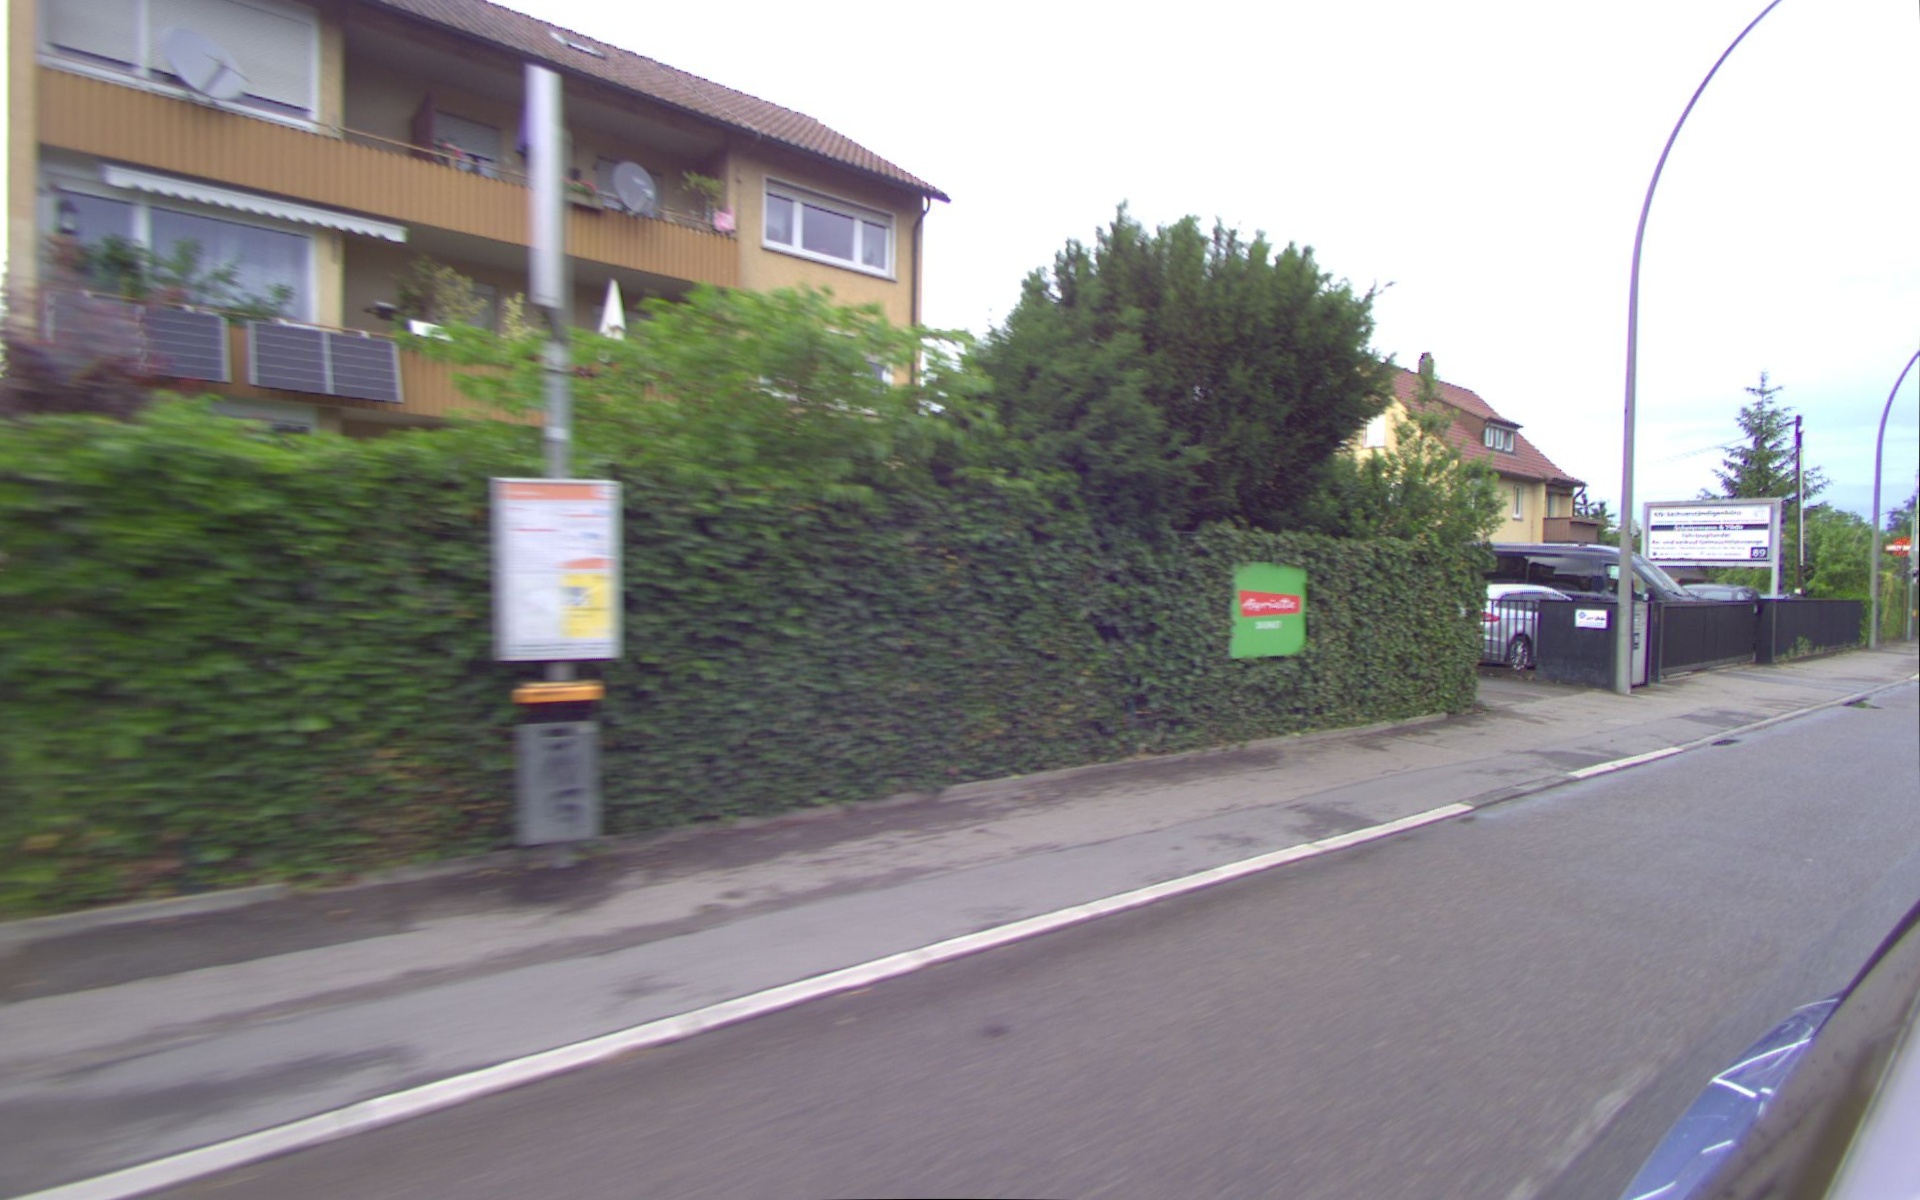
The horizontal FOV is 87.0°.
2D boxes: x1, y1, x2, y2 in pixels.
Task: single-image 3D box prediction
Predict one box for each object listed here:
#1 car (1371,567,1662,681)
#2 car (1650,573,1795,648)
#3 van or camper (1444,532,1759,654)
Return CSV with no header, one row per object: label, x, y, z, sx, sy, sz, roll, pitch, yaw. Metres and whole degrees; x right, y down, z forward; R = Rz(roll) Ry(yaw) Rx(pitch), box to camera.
car,10.038,0.342,18.183,5.131,1.671,2.130,-3,1,-29
car,18.794,0.215,24.883,4.483,1.586,1.666,-3,1,-37
van or camper,14.872,-0.211,23.865,2.094,2.516,5.918,-3,2,-39
